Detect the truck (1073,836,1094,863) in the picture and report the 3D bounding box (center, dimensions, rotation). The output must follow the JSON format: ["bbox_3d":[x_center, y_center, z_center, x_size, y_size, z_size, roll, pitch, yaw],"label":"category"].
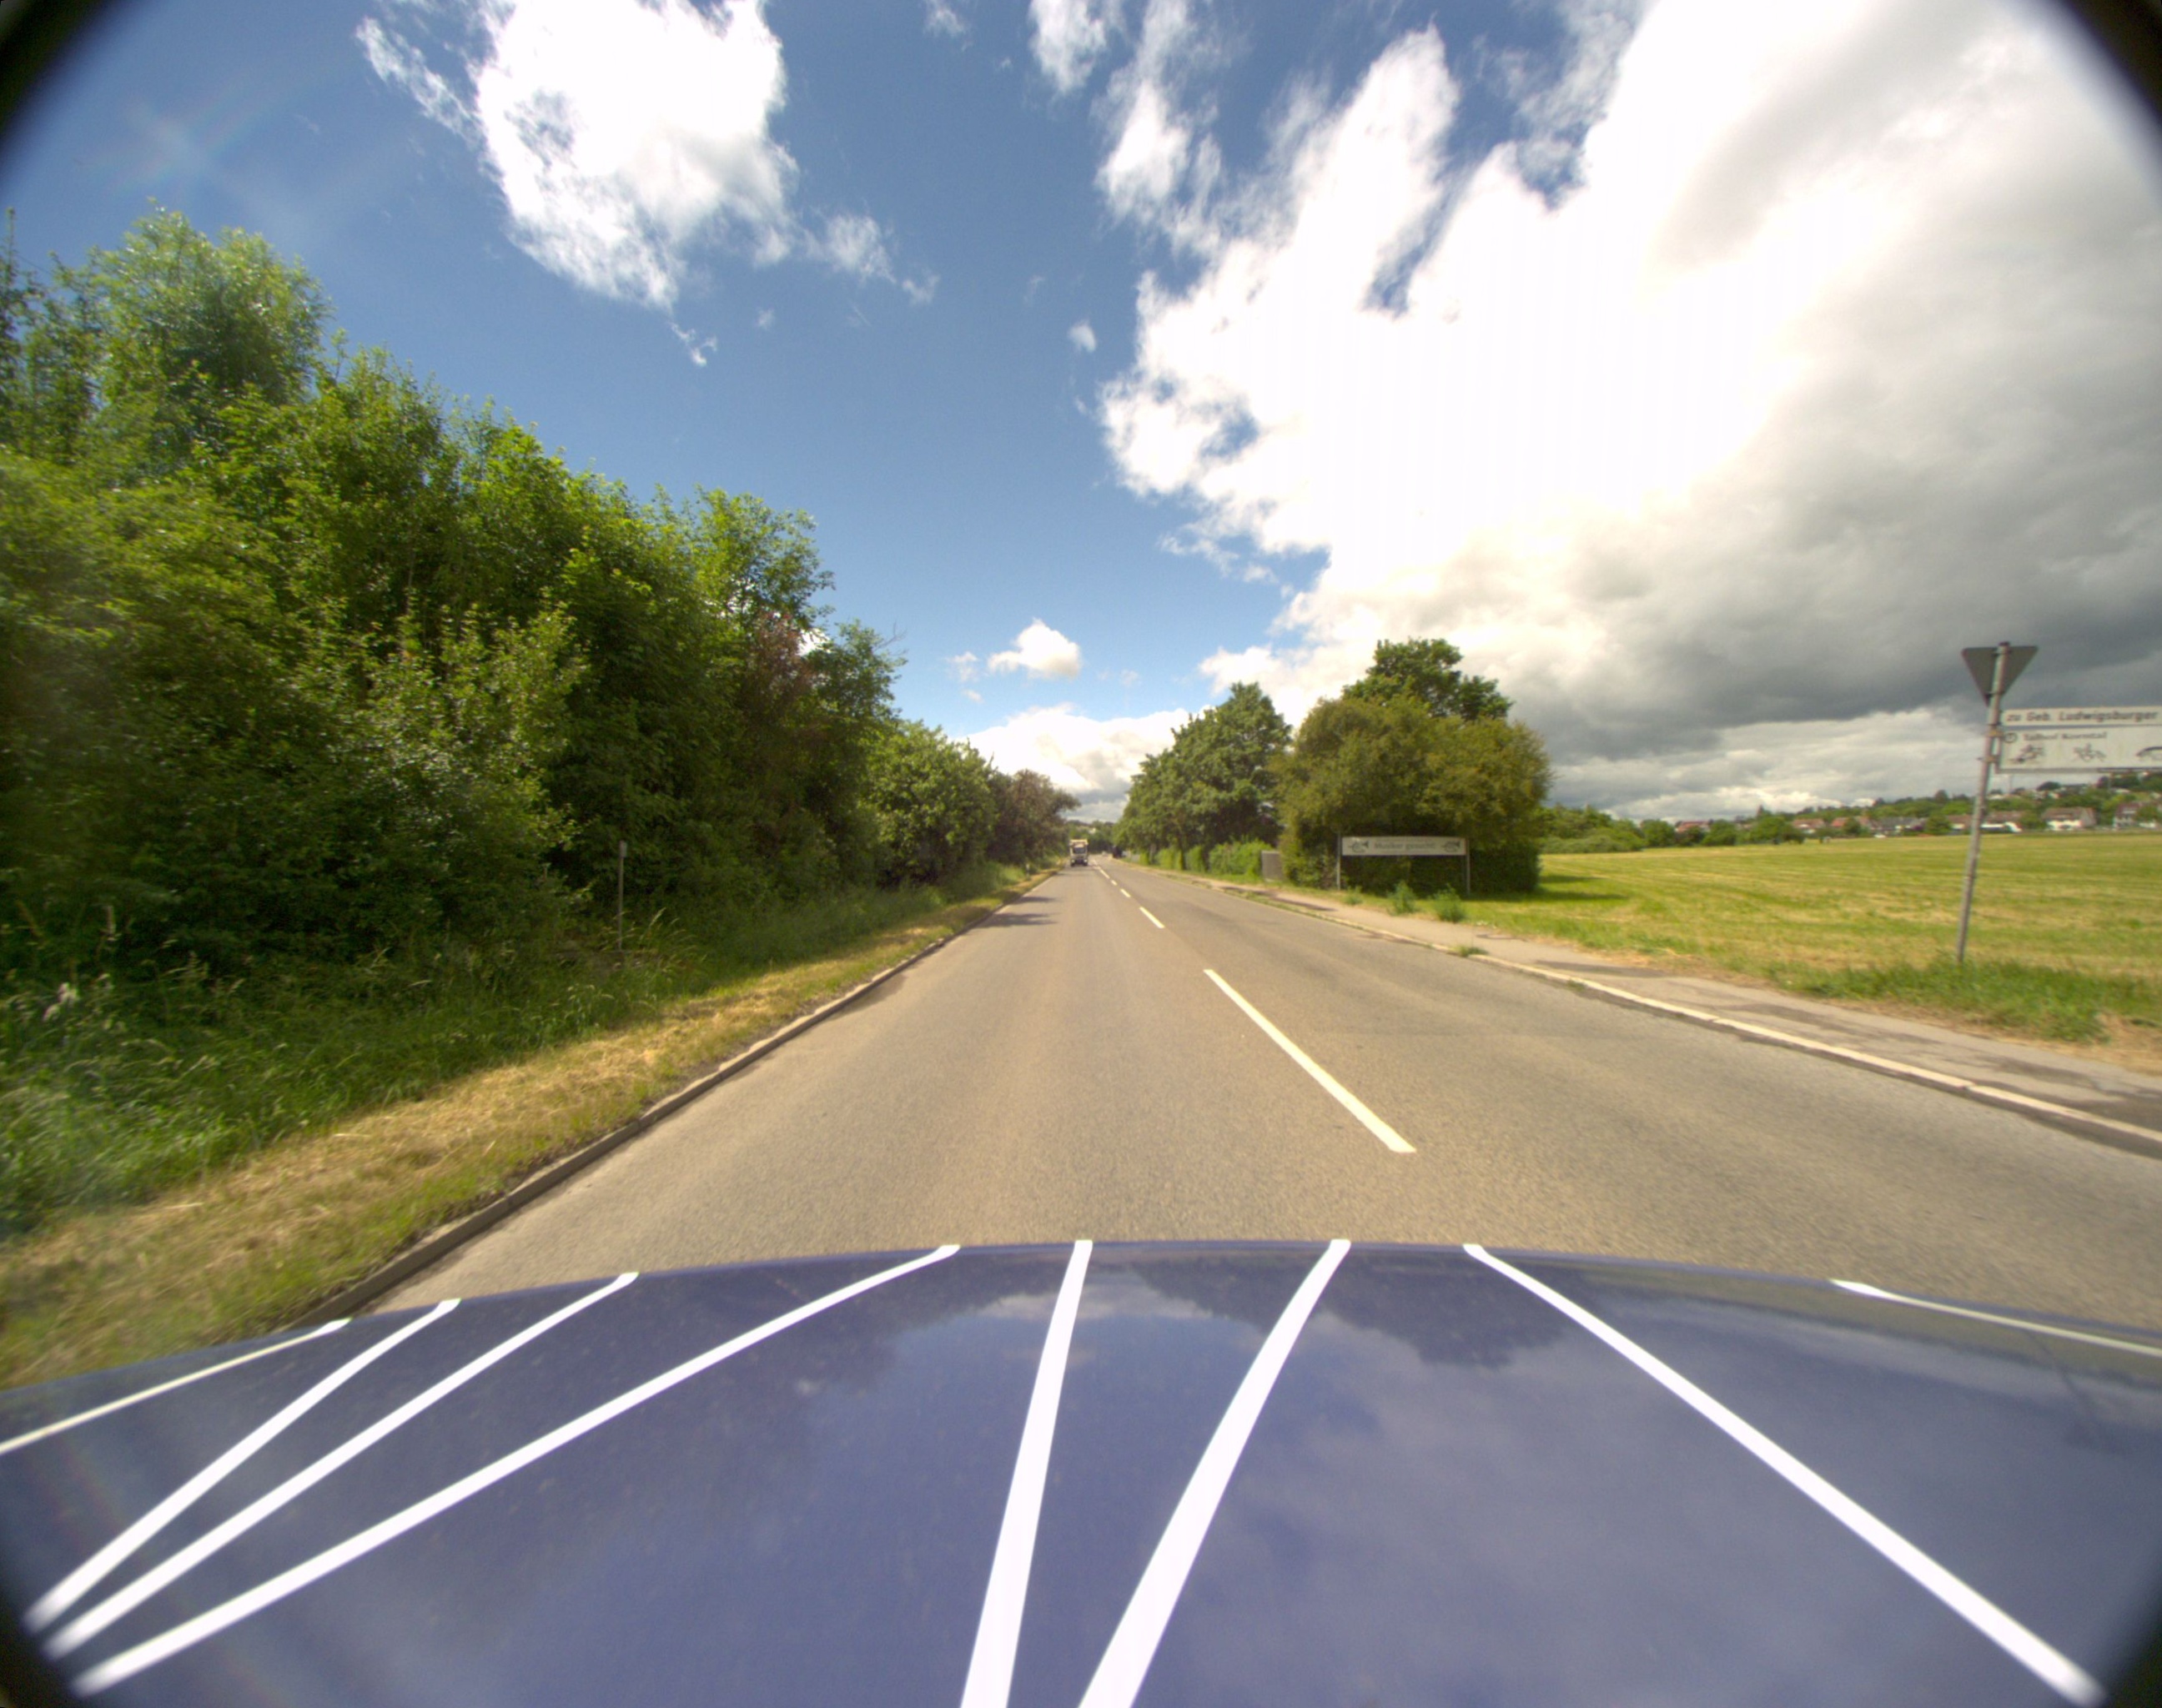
[{"bbox_3d":[0.302,-0.606,111.455,2.905,3.746,9.634,0,0,0],"label":"truck"}]

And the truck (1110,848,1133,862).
[{"bbox_3d":[10.609,0.237,198.623,5.570,3.801,2.983,0,1,-4],"label":"truck"}]
